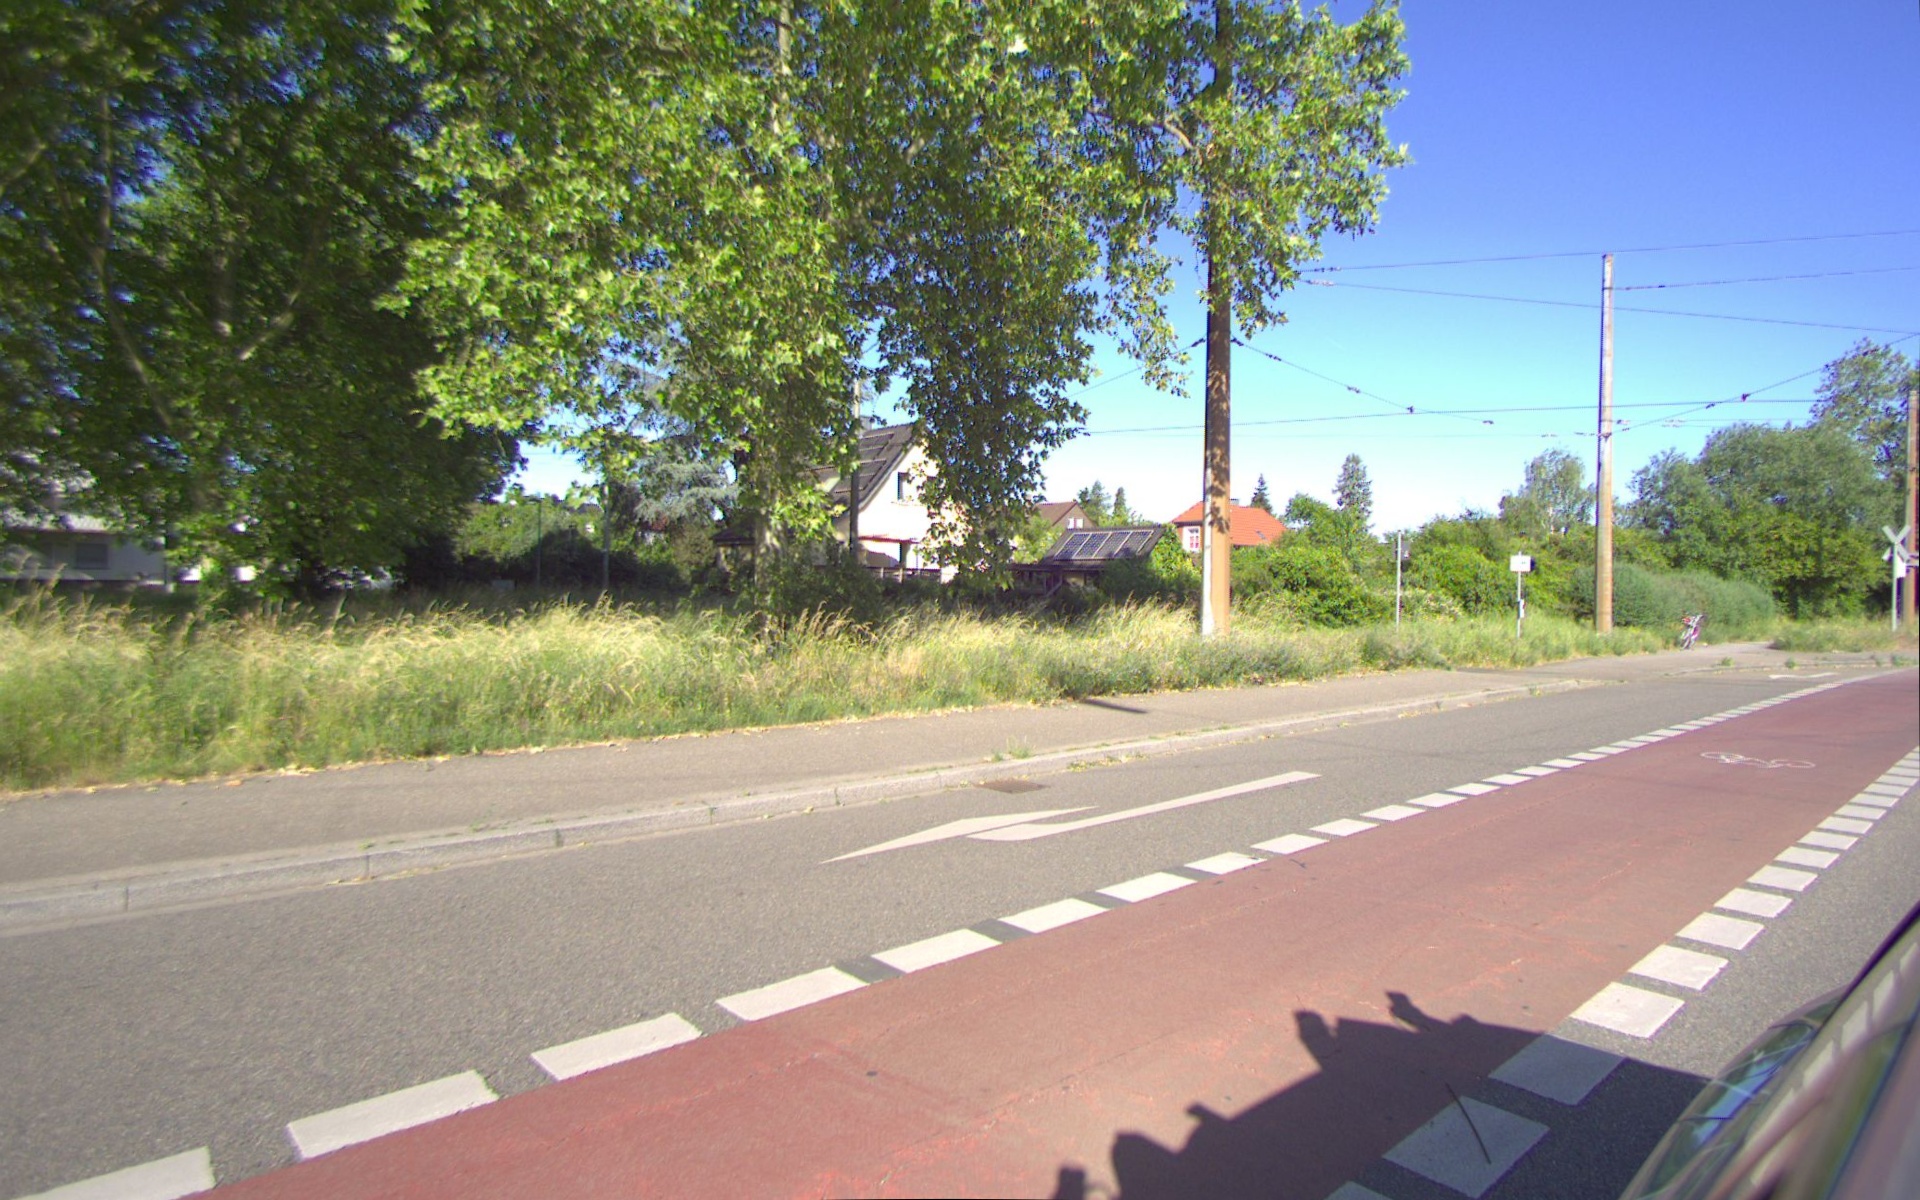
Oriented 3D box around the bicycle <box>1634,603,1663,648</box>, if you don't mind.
[{"bbox_3d":[18.209,0.656,26.743,0.365,1.149,2.064,1,1,41],"label":"bicycle"}]
